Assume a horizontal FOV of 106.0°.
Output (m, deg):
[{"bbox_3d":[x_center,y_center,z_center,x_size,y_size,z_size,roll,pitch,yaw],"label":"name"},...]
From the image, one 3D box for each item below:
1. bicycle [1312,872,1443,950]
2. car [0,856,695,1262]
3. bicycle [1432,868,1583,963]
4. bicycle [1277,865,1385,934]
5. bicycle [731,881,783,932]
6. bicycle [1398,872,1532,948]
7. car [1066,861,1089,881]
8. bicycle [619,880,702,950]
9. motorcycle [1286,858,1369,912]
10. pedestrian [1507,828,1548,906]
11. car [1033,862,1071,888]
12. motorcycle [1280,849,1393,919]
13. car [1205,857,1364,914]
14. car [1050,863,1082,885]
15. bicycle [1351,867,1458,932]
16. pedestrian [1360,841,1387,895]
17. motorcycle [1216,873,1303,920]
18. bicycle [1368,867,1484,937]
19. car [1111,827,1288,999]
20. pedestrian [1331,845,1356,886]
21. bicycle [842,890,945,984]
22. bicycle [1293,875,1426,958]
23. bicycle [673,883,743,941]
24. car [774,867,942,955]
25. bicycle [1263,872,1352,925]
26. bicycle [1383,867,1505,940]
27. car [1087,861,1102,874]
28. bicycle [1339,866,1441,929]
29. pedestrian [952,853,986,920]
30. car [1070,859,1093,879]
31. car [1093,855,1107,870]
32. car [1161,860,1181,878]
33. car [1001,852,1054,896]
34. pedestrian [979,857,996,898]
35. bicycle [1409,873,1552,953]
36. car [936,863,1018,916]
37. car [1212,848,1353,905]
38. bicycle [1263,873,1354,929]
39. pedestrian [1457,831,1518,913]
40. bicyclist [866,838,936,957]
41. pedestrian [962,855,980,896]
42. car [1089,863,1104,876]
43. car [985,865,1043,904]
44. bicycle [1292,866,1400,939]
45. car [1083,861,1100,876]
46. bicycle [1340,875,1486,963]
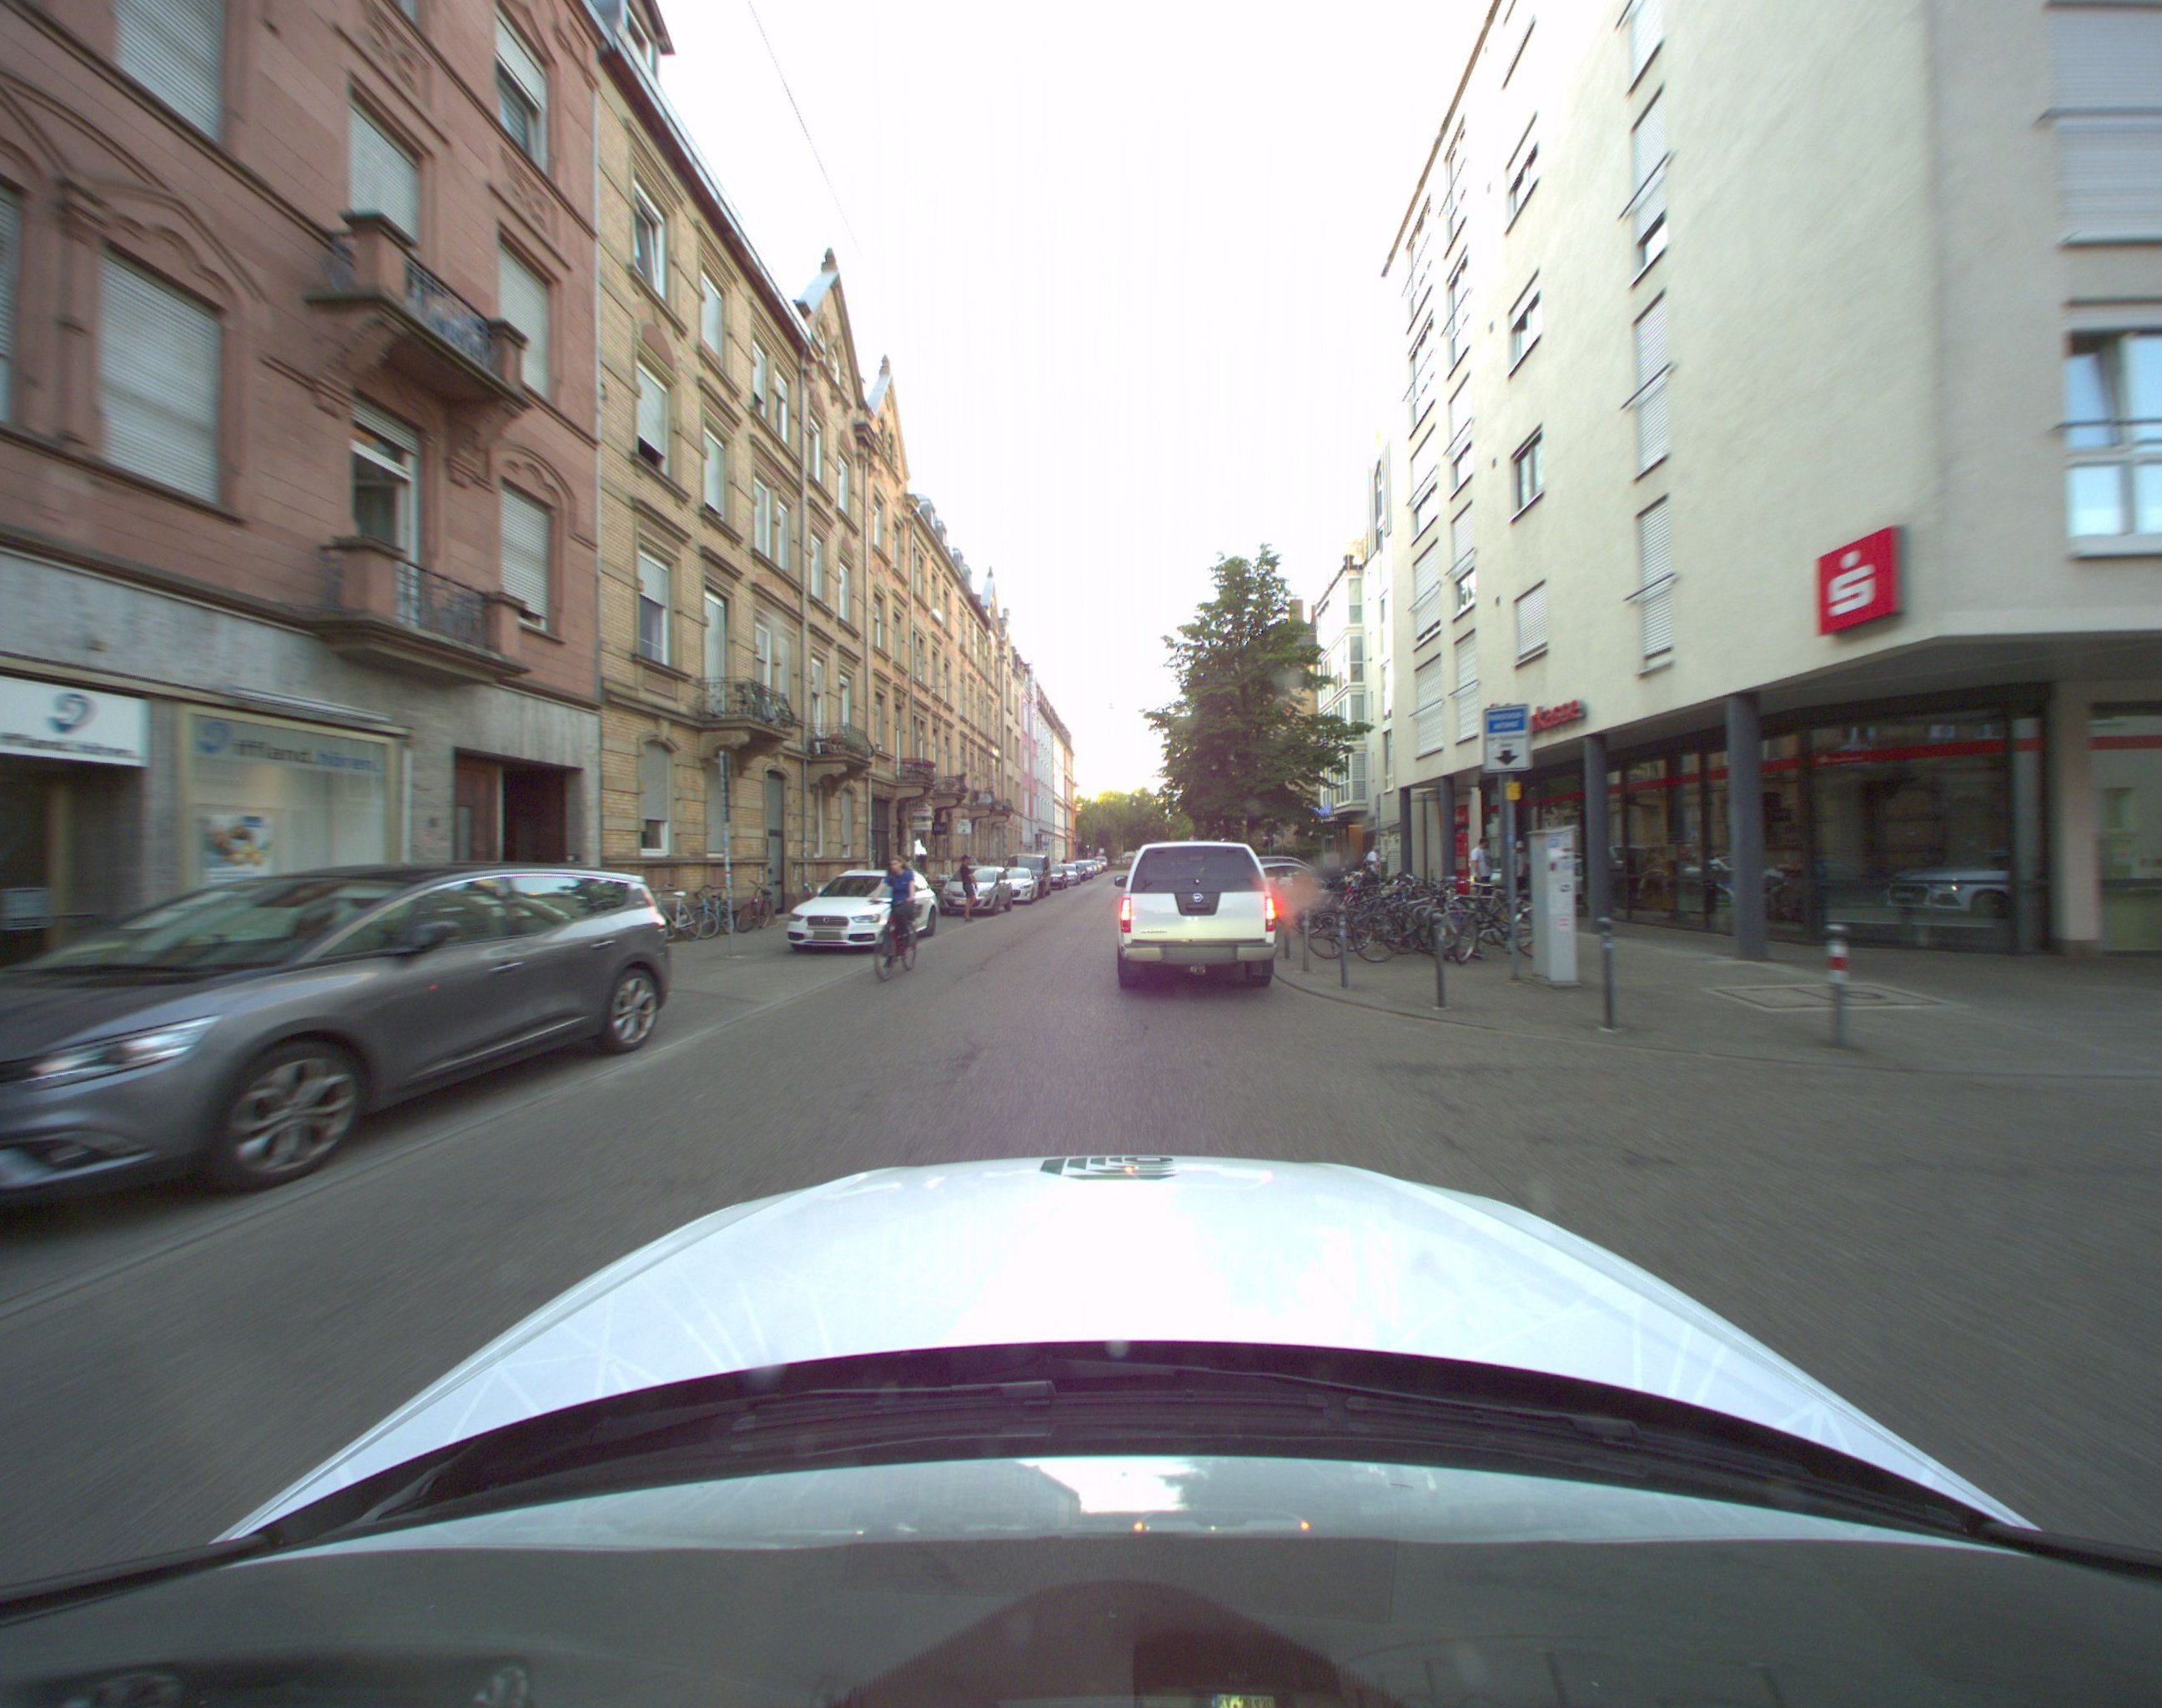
[{"bbox_3d":[4.728,0.899,13.079,1.802,1.118,0.707,-3,-1,2],"label":"bicycle"},{"bbox_3d":[-4.753,0.834,5.568,1.844,1.633,4.451,0,0,4],"label":"car"},{"bbox_3d":[5.711,0.805,10.934,1.721,1.132,0.577,-3,-2,-8],"label":"bicycle"},{"bbox_3d":[4.907,0.897,16.083,1.858,1.182,0.744,-5,-2,9],"label":"bicycle"},{"bbox_3d":[-7.263,1.155,18.294,0.591,1.027,1.622,-1,0,-3],"label":"bicycle"},{"bbox_3d":[5.913,0.860,12.623,1.713,1.054,0.655,-3,-1,7],"label":"bicycle"},{"bbox_3d":[-0.271,1.365,66.410,1.629,1.565,3.784,0,-1,3],"label":"car"},{"bbox_3d":[-7.567,1.069,14.736,0.513,1.132,1.732,-1,0,4],"label":"bicycle"},{"bbox_3d":[6.994,0.863,23.168,2.050,1.369,0.717,-4,-1,0],"label":"motorcycle"},{"bbox_3d":[10.188,0.290,18.569,0.656,1.723,0.667,-2,1,38],"label":"pedestrian"},{"bbox_3d":[-1.638,1.222,47.511,1.729,1.418,4.783,1,-1,4],"label":"car"},{"bbox_3d":[6.293,0.747,20.157,2.478,1.549,0.825,-4,-2,6],"label":"motorcycle"},{"bbox_3d":[6.214,0.937,25.184,4.412,1.455,1.778,-3,-1,-2],"label":"car"},{"bbox_3d":[-0.993,1.350,56.529,1.826,1.458,4.211,2,-1,4],"label":"car"},{"bbox_3d":[6.113,0.845,15.430,1.716,1.118,0.654,-3,-1,1],"label":"bicycle"},{"bbox_3d":[9.585,0.466,26.687,0.625,1.753,0.586,0,-2,-7],"label":"pedestrian"},{"bbox_3d":[4.636,1.103,21.165,2.059,1.078,0.661,-3,-1,-12],"label":"motorcycle"},{"bbox_3d":[6.040,0.843,14.349,1.713,1.118,0.655,-3,-2,7],"label":"bicycle"},{"bbox_3d":[1.454,0.674,11.447,1.902,1.853,5.275,0,-1,4],"label":"car"},{"bbox_3d":[11.247,0.498,34.875,0.724,1.716,0.964,-3,-1,4],"label":"pedestrian"},{"bbox_3d":[-2.567,1.109,11.456,0.641,1.081,2.173,-3,-1,7],"label":"bicycle"},{"bbox_3d":[4.181,0.930,12.321,1.715,1.118,0.707,-3,-1,2],"label":"bicycle"},{"bbox_3d":[-7.388,1.126,16.214,0.562,1.036,1.626,-1,0,4],"label":"bicycle"},{"bbox_3d":[-4.126,0.991,15.911,1.750,1.412,4.514,0,0,4],"label":"car"},{"bbox_3d":[5.001,0.984,18.082,1.763,1.022,0.566,-5,-2,6],"label":"bicycle"},{"bbox_3d":[6.103,0.834,13.773,1.713,1.118,0.655,-3,-2,7],"label":"bicycle"},{"bbox_3d":[1.553,1.570,94.564,1.692,1.426,4.023,1,-1,2],"label":"car"},{"bbox_3d":[6.115,0.850,16.153,1.716,1.118,0.654,-3,-1,1],"label":"bicycle"},{"bbox_3d":[-3.001,0.875,21.876,0.550,1.756,1.026,-1,-2,16],"label":"pedestrian"},{"bbox_3d":[0.065,1.332,72.566,1.838,1.659,4.253,-1,-1,1],"label":"car"},{"bbox_3d":[2.551,1.094,108.632,1.805,1.977,4.185,1,-1,0],"label":"car"},{"bbox_3d":[8.192,1.336,74.528,1.668,1.501,3.907,-4,-1,6],"label":"car"},{"bbox_3d":[-2.428,0.903,38.193,1.985,1.924,4.953,1,-1,2],"label":"car"},{"bbox_3d":[-4.175,1.025,36.235,0.603,1.772,0.777,2,0,0],"label":"pedestrian"},{"bbox_3d":[5.826,0.855,11.955,1.713,1.054,0.655,-3,-1,7],"label":"bicycle"},{"bbox_3d":[-3.164,1.048,25.530,1.708,1.457,4.006,0,0,5],"label":"car"},{"bbox_3d":[6.835,0.771,27.919,4.380,1.648,1.748,-3,-1,3],"label":"car"},{"bbox_3d":[4.859,1.006,17.473,1.710,1.031,0.668,-5,-2,6],"label":"bicycle"},{"bbox_3d":[9.012,0.393,18.071,0.780,1.723,0.903,-4,1,-39],"label":"pedestrian"},{"bbox_3d":[-2.566,0.601,11.680,0.641,1.621,0.920,-3,-1,7],"label":"bicyclist"},{"bbox_3d":[-4.852,0.948,36.019,0.578,1.771,0.997,2,0,0],"label":"pedestrian"},{"bbox_3d":[1.938,1.850,100.484,1.692,1.552,4.023,1,-1,2],"label":"car"},{"bbox_3d":[-2.641,1.172,32.967,1.776,1.423,4.488,1,-1,2],"label":"car"},{"bbox_3d":[4.874,0.896,15.094,1.775,1.182,0.737,-5,-2,14],"label":"bicycle"},{"bbox_3d":[1.164,1.565,88.435,1.691,1.621,4.026,1,-1,4],"label":"car"},{"bbox_3d":[4.616,0.898,11.430,1.713,1.118,0.708,-3,-1,7],"label":"bicycle"}]
